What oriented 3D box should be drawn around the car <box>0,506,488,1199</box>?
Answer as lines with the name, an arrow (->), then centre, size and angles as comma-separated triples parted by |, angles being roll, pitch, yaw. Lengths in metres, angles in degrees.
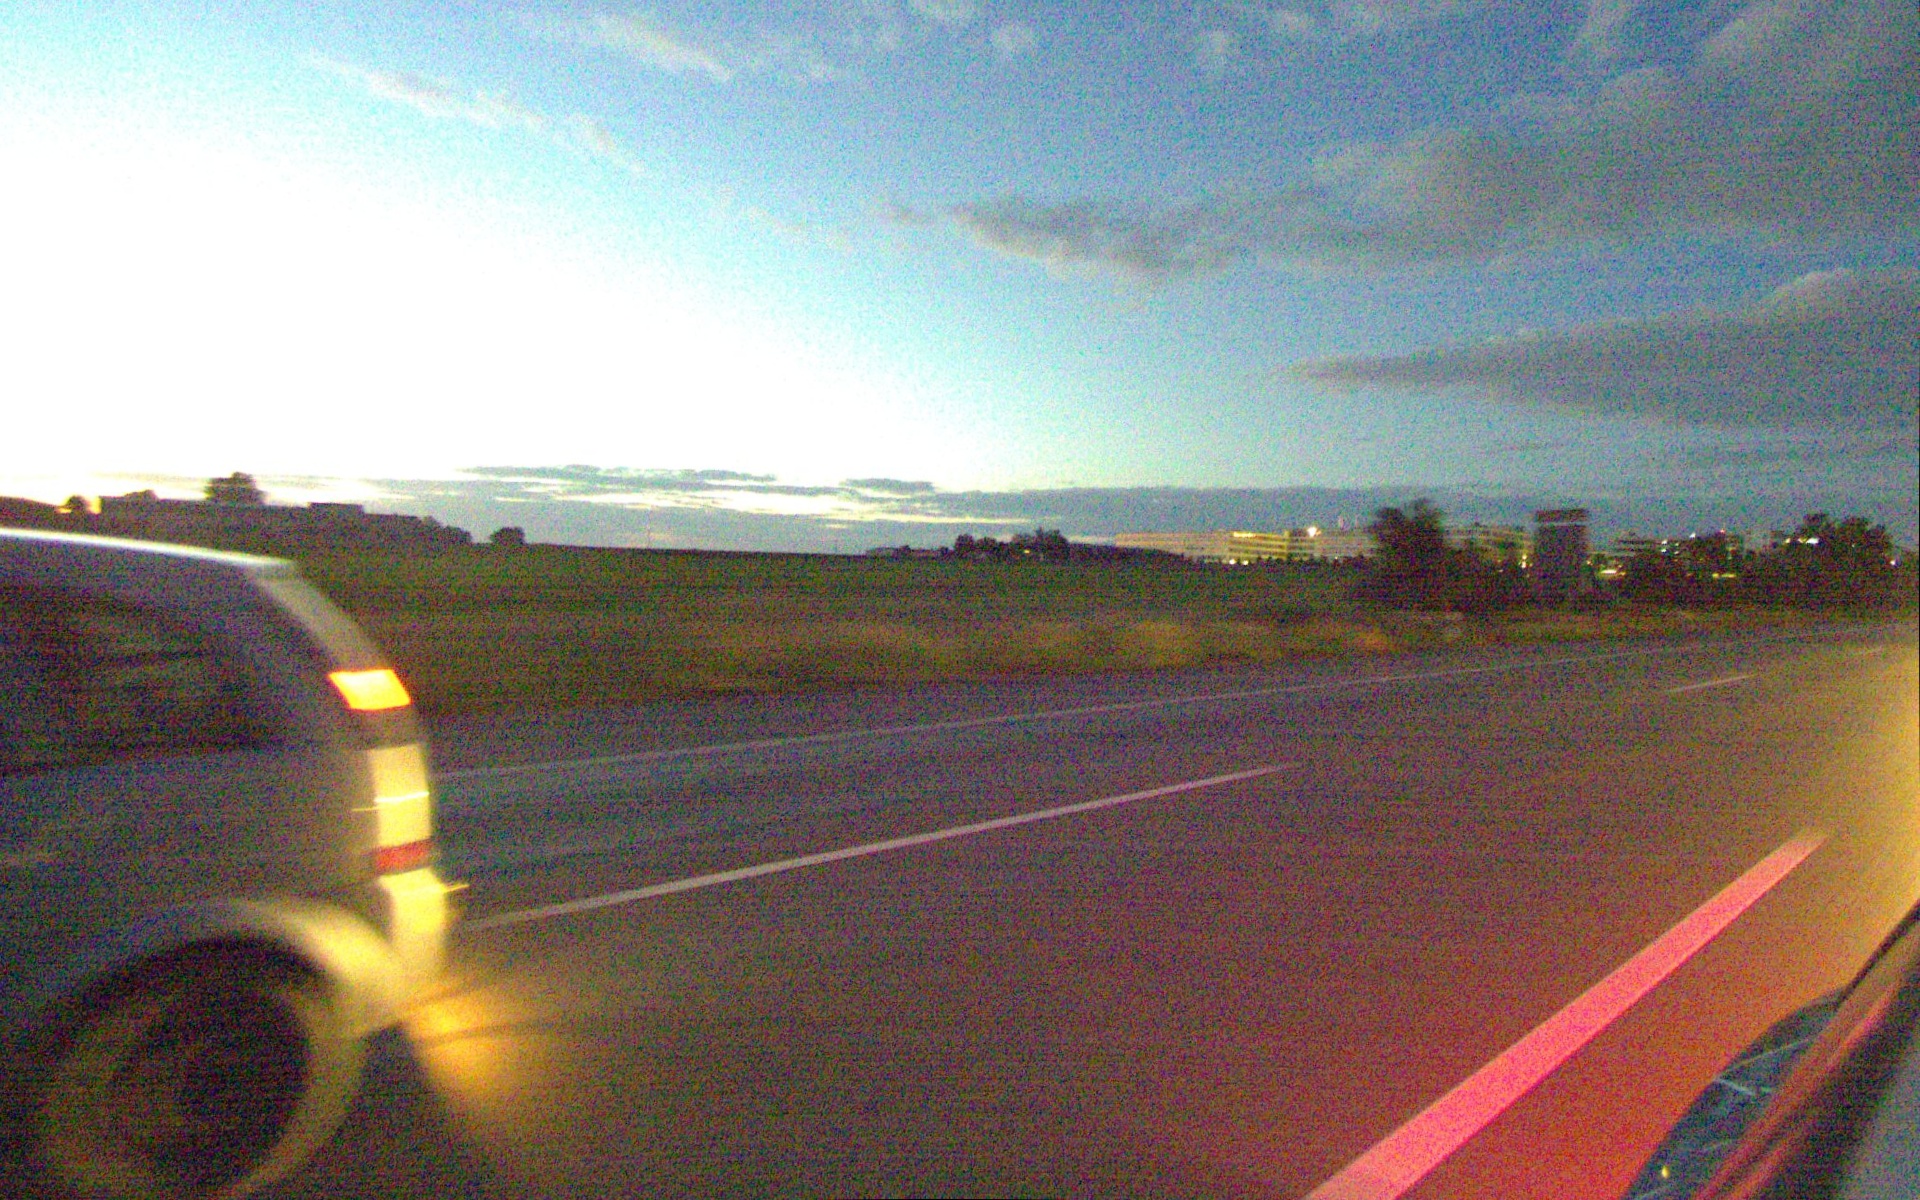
car -> -3.474, 0.585, 1.878 | 4.430, 1.616, 1.649 | 0, 1, -41
